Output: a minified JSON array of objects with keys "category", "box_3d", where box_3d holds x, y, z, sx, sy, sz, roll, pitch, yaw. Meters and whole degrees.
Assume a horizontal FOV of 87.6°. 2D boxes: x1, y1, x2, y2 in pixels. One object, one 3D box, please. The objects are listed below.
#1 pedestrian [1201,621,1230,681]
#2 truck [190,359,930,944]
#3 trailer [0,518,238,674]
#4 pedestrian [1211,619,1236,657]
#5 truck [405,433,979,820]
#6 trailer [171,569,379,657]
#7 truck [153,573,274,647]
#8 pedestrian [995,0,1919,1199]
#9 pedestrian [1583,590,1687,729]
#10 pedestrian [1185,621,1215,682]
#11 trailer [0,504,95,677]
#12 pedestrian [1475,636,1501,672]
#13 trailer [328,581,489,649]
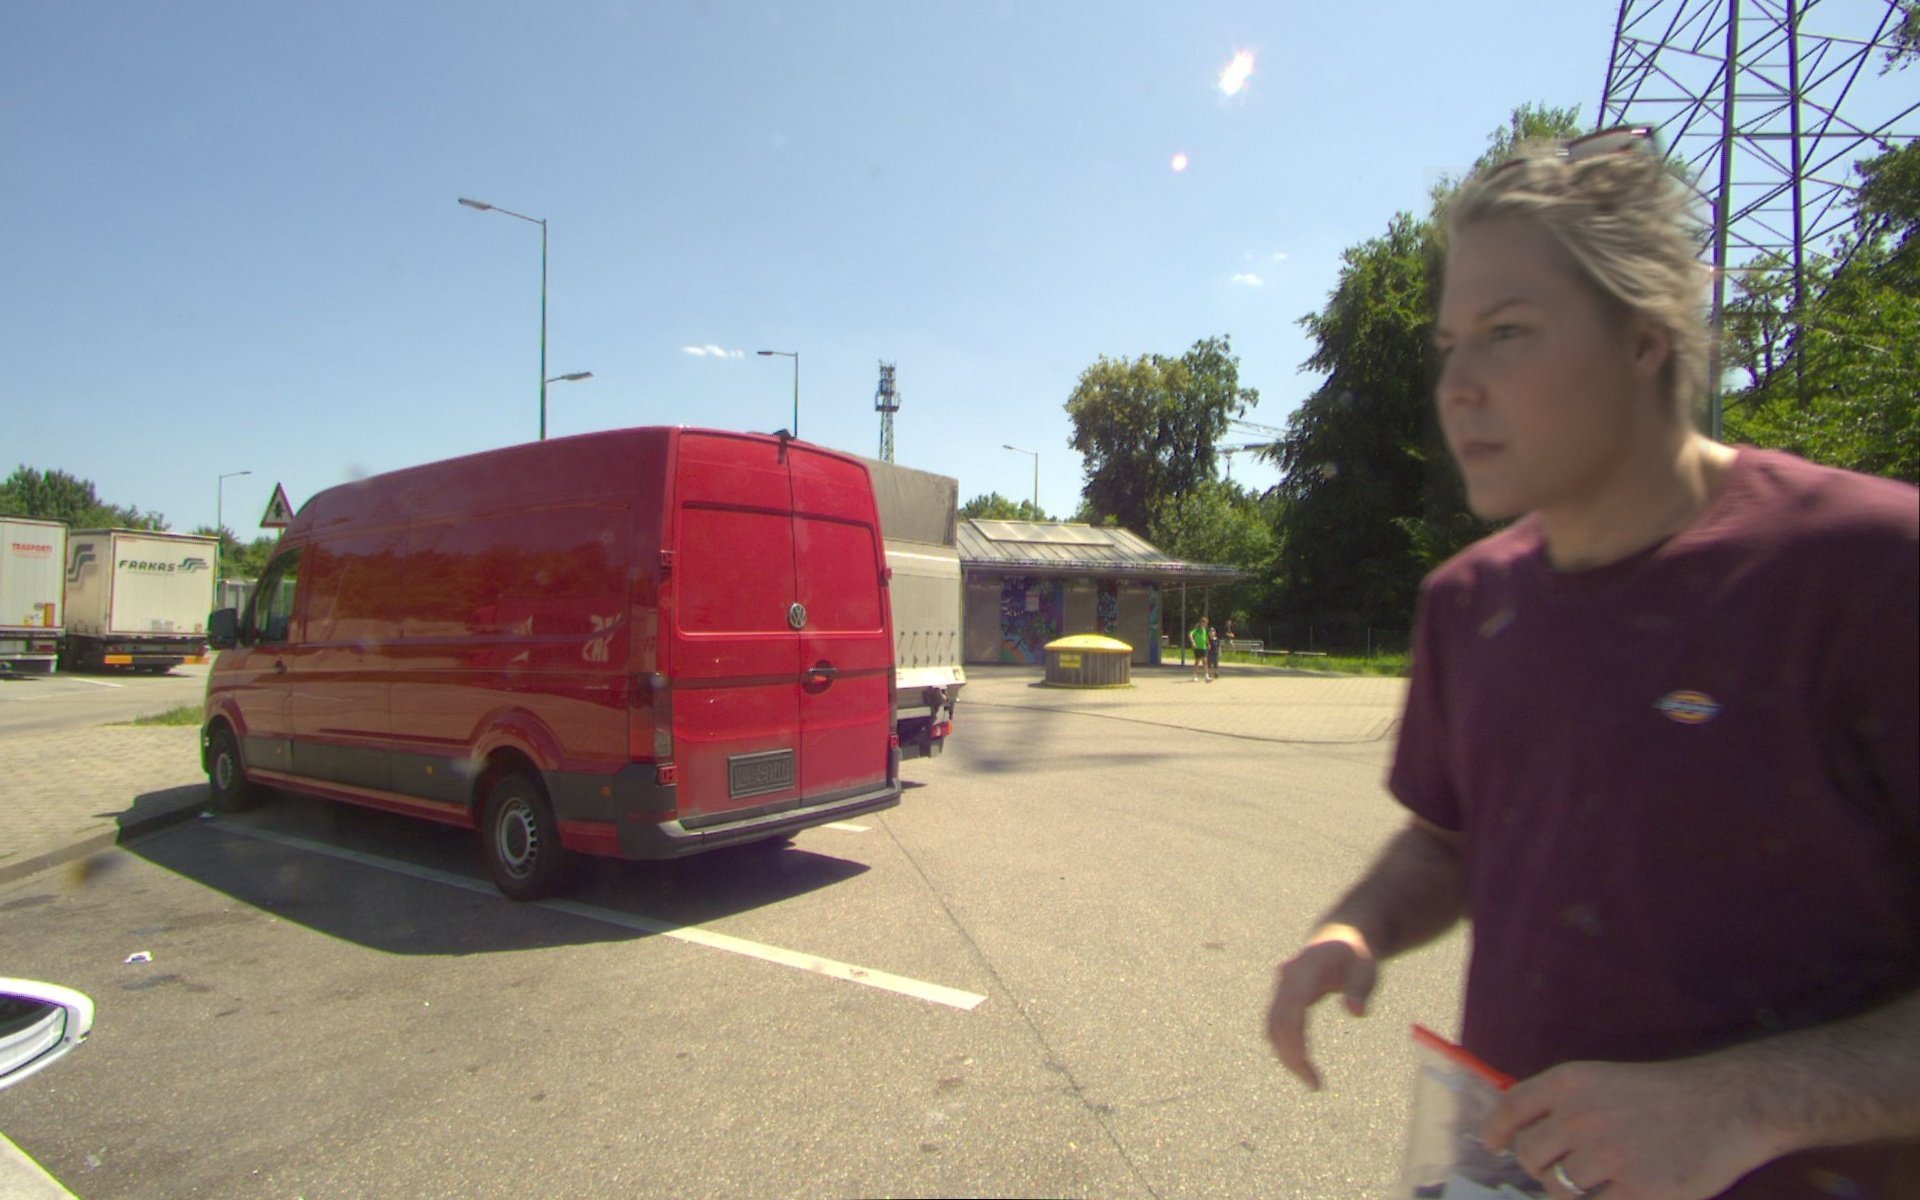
[{"category":"pedestrian","box_3d":[6.063,1.205,23.746,0.532,1.392,0.583,0,-1,0]},{"category":"truck","box_3d":[-3.323,0.310,7.320,6.372,2.685,2.005,-1,-2,37]},{"category":"trailer","box_3d":[-27.599,-0.156,31.592,13.561,4.162,2.854,1,-2,32]},{"category":"pedestrian","box_3d":[11.476,1.653,43.582,0.803,1.639,0.915,-1,-2,34]},{"category":"truck","box_3d":[-3.072,0.282,10.504,6.372,2.943,2.411,-1,-2,37]},{"category":"trailer","box_3d":[-32.461,0.501,47.082,13.561,3.646,2.854,1,-2,32]},{"category":"truck","box_3d":[-37.533,0.492,50.306,5.887,3.406,2.862,1,-2,32]},{"category":"pedestrian","box_3d":[0.635,0.572,0.903,0.912,1.929,0.806,1,-2,-44]},{"category":"pedestrian","box_3d":[9.692,0.840,14.401,0.799,1.929,0.920,0,-1,-15]},{"category":"pedestrian","box_3d":[5.533,1.184,23.126,0.532,1.392,0.583,0,-1,0]},{"category":"trailer","box_3d":[-28.672,-0.330,28.005,13.561,4.162,2.854,1,-2,32]},{"category":"pedestrian","box_3d":[14.658,1.507,27.798,0.439,0.987,0.460,0,-1,-19]},{"category":"trailer","box_3d":[-36.153,0.866,65.322,13.561,3.955,2.854,1,-2,32]}]
